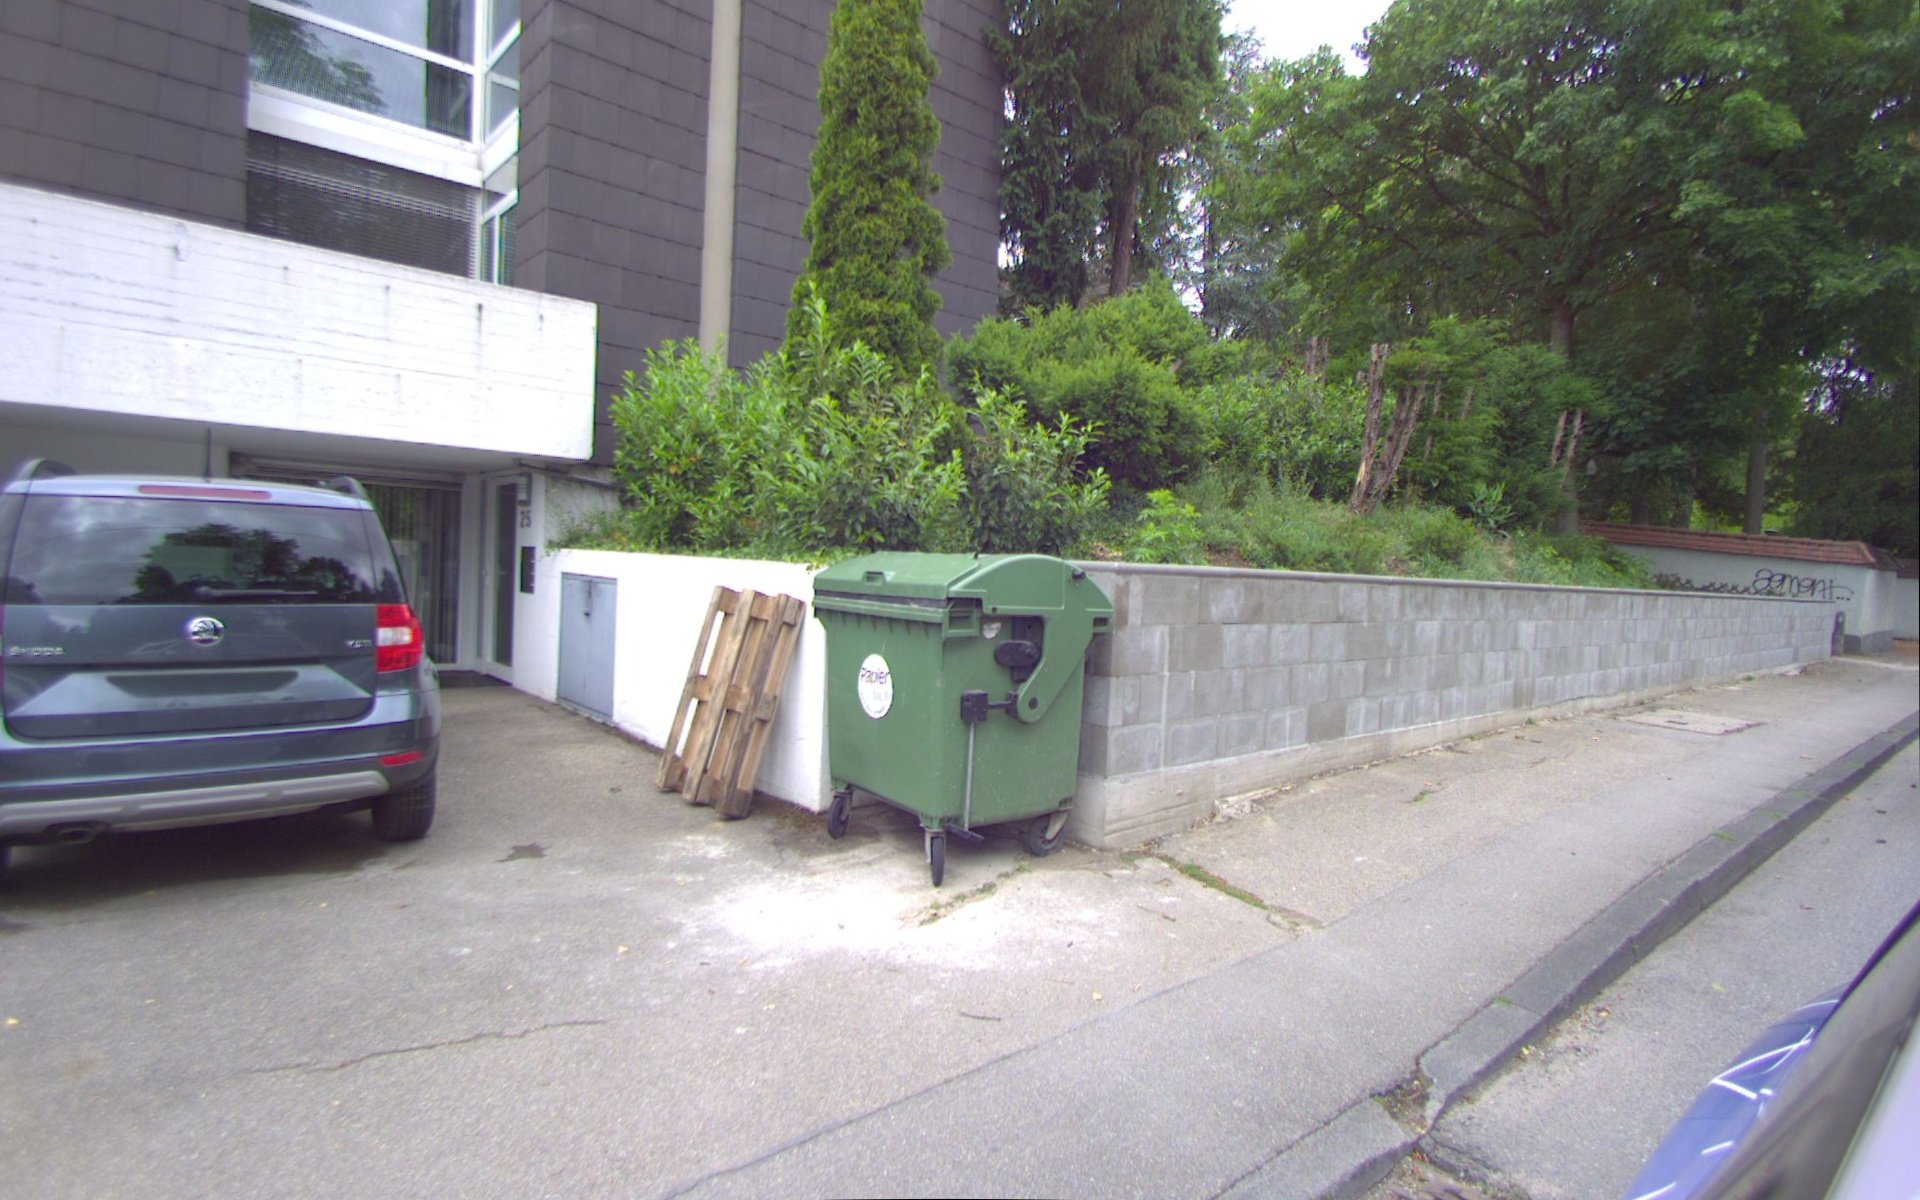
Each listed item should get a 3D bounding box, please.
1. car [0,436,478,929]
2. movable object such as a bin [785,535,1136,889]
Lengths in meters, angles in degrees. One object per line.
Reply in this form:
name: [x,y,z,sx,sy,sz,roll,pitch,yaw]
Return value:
car: [-3.898,0.160,5.360,1.712,1.671,3.914,0,4,-36]
movable object such as a bin: [-0.034,0.428,5.083,1.096,1.469,1.407,0,3,-40]
